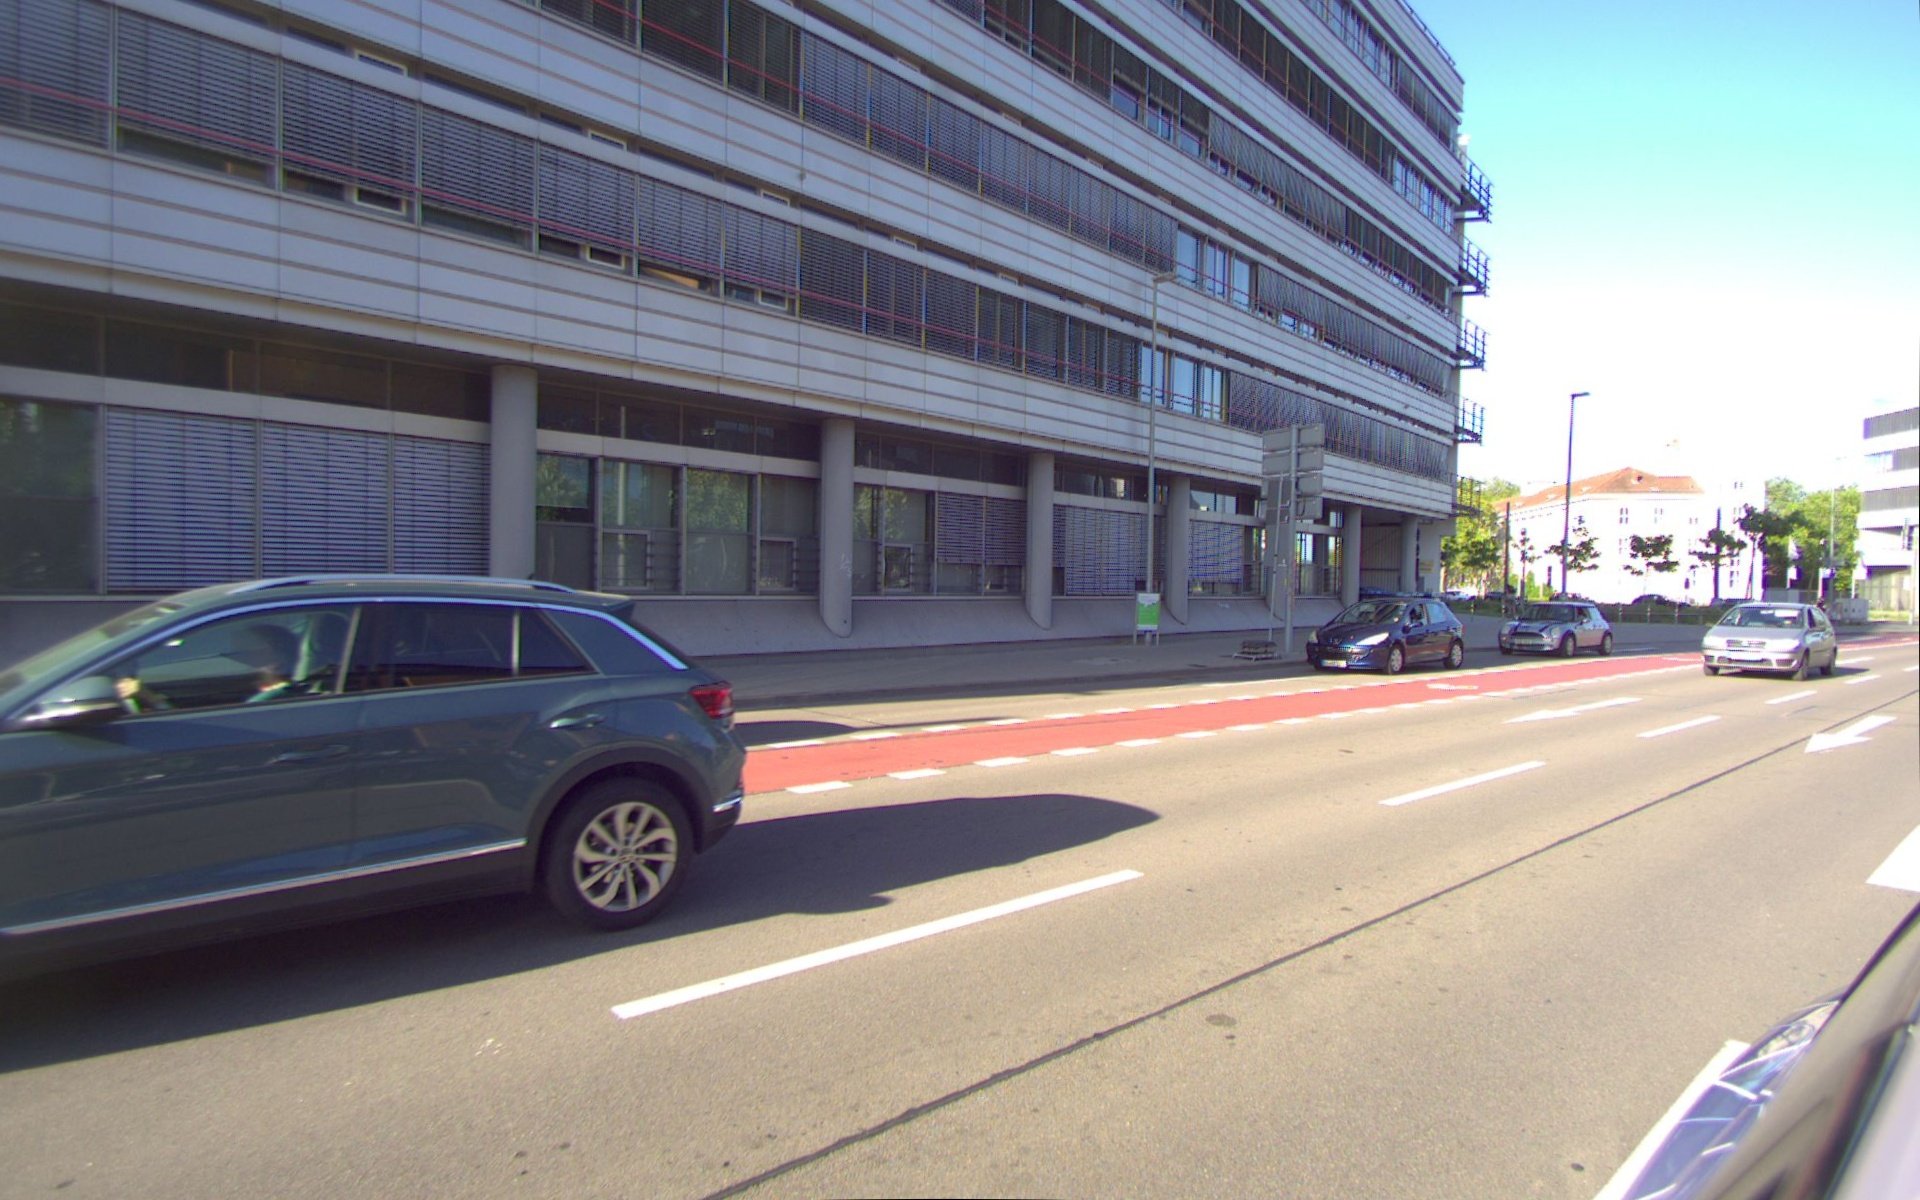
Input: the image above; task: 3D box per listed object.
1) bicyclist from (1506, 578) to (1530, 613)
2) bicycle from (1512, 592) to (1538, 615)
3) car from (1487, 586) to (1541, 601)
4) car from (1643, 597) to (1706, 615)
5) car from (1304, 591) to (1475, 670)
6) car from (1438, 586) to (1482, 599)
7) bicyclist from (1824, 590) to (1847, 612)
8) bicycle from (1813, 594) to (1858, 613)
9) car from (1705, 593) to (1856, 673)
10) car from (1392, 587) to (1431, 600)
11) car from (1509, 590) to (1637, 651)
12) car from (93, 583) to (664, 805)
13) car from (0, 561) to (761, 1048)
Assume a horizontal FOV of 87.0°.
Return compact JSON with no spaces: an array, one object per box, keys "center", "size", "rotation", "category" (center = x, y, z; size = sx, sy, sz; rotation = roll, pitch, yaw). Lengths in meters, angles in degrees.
[{"center":[26.866,-0.233,48.741],"size":[0.973,1.638,0.685],"rotation":[0,1,-39],"category":"bicyclist"},{"center":[27.073,0.152,48.491],"size":[1.672,1.070,0.505],"rotation":[-1,4,-40],"category":"bicycle"},{"center":[56.268,-0.657,102.901],"size":[1.958,1.439,4.535],"rotation":[0,1,-24],"category":"car"},{"center":[62.106,0.536,88.060],"size":[1.958,1.439,4.009],"rotation":[0,1,-21],"category":"car"},{"center":[8.919,0.565,20.888],"size":[3.930,1.464,1.734],"rotation":[0,0,-41],"category":"car"},{"center":[53.900,-0.788,109.233],"size":[1.958,1.259,4.009],"rotation":[0,1,-19],"category":"car"},{"center":[64.887,0.057,75.034],"size":[0.862,1.627,1.009],"rotation":[0,1,-27],"category":"bicyclist"},{"center":[64.879,0.218,75.014],"size":[0.932,1.328,2.376],"rotation":[0,1,-27],"category":"bicycle"},{"center":[16.453,0.593,20.246],"size":[3.699,1.447,1.620],"rotation":[0,1,-39],"category":"car"},{"center":[51.776,-0.757,116.110],"size":[1.894,1.393,4.009],"rotation":[0,1,-17],"category":"car"},{"center":[16.102,0.501,26.541],"size":[3.925,1.463,1.440],"rotation":[0,2,-36],"category":"car"},{"center":[-4.860,0.612,8.847],"size":[4.044,1.459,1.711],"rotation":[0,2,-44],"category":"car"},{"center":[-2.981,0.617,4.345],"size":[3.811,1.523,1.749],"rotation":[0,2,-40],"category":"car"}]
